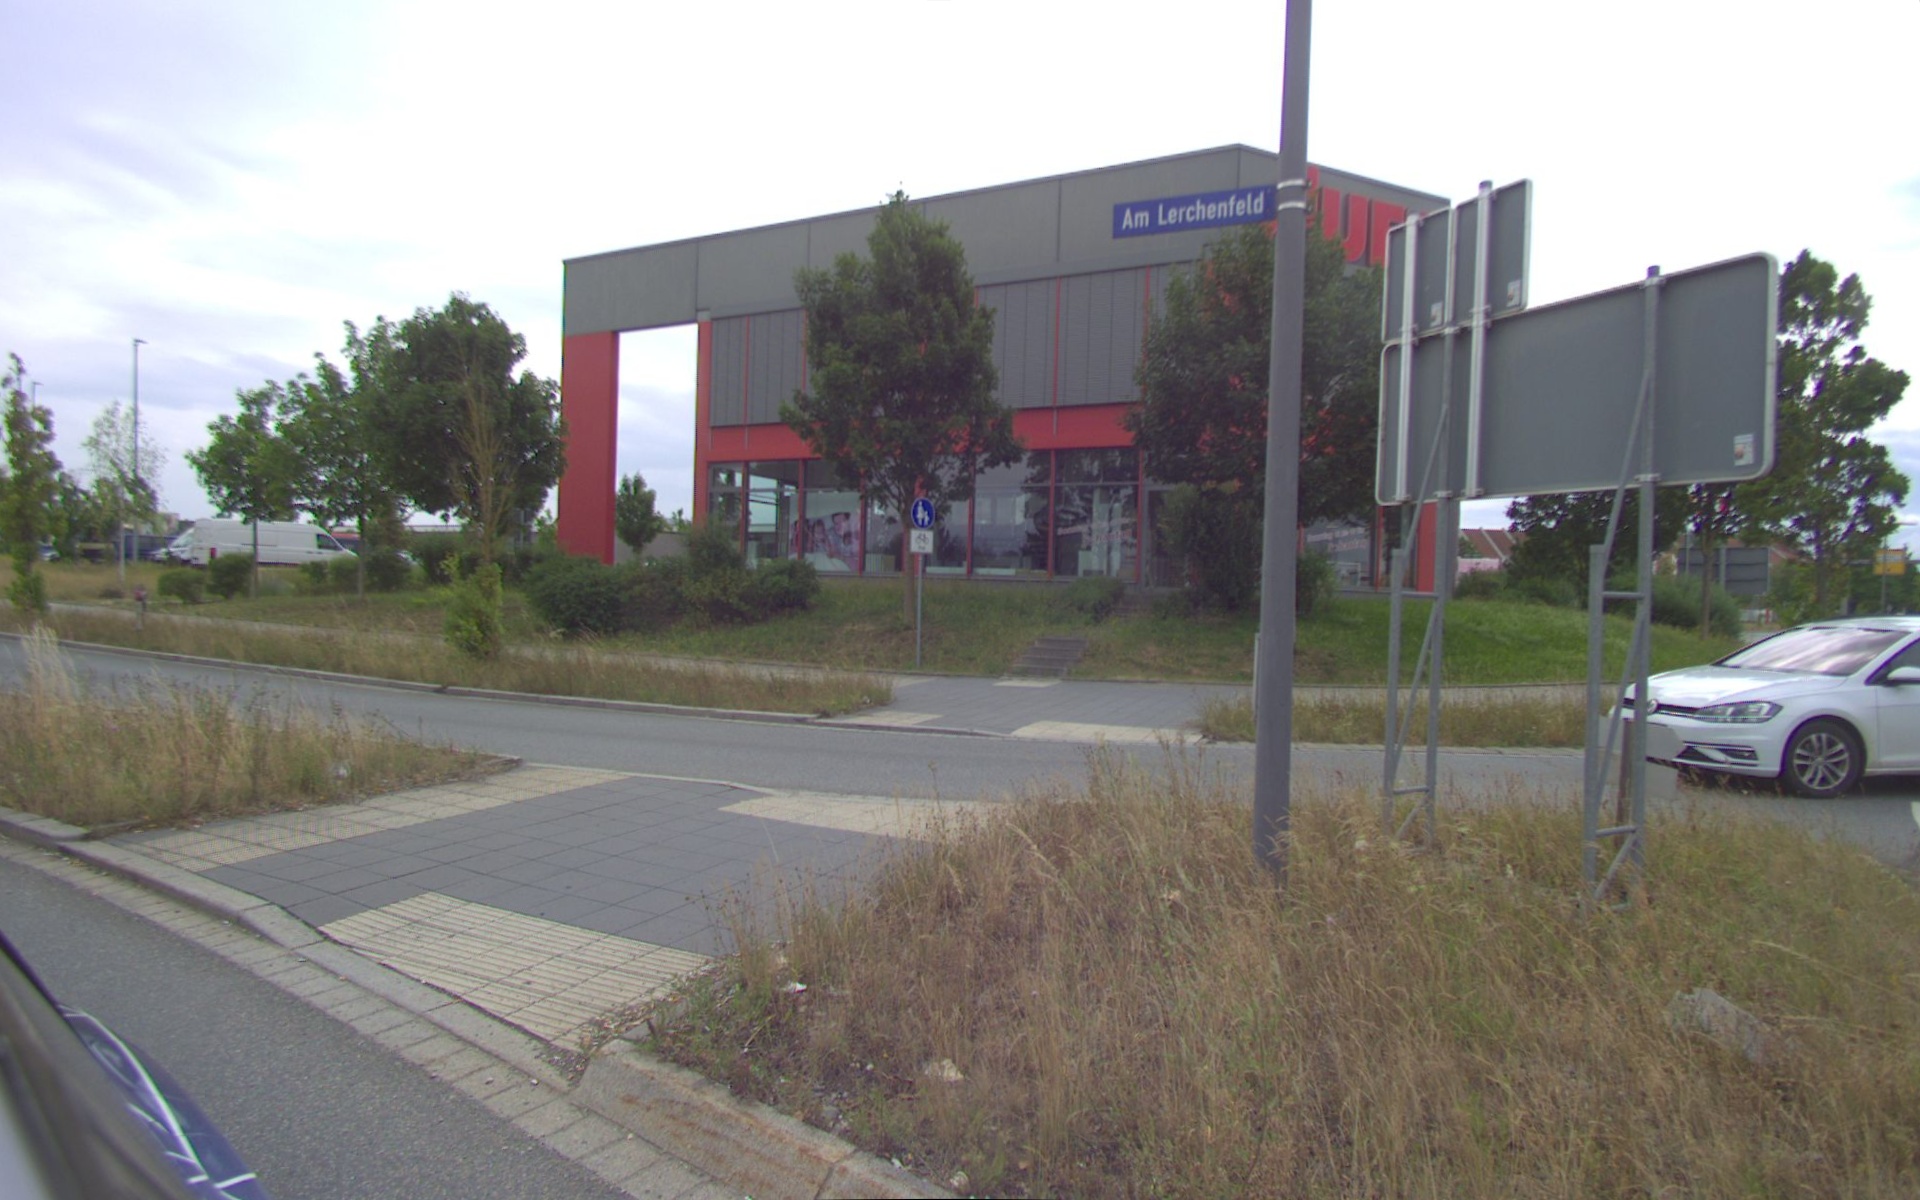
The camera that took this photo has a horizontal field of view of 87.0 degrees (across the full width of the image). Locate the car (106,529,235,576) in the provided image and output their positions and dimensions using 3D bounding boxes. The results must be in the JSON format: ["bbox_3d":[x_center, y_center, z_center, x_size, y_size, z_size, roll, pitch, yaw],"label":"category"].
[{"bbox_3d":[-42.087,-2.485,54.077,2.059,2.240,5.000,2,1,33],"label":"car"}]

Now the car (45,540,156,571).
[{"bbox_3d":[-54.163,-2.786,63.864,2.061,1.669,4.996,2,1,36],"label":"car"}]

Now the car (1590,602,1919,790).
[{"bbox_3d":[8.212,0.774,8.695,4.573,1.419,1.729,1,-1,-4],"label":"car"}]

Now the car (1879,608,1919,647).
[{"bbox_3d":[66.254,1.902,71.111,2.280,2.404,5.633,4,3,41],"label":"car"}]

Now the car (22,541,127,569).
[{"bbox_3d":[-60.066,-3.019,68.726,2.061,1.669,4.996,2,1,36],"label":"car"}]

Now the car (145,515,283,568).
[{"bbox_3d":[-36.077,-2.768,49.095,2.054,2.390,5.013,3,3,26],"label":"car"}]

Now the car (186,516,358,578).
[{"bbox_3d":[-31.626,-2.402,46.784,2.057,2.643,6.355,3,3,30],"label":"car"}]
